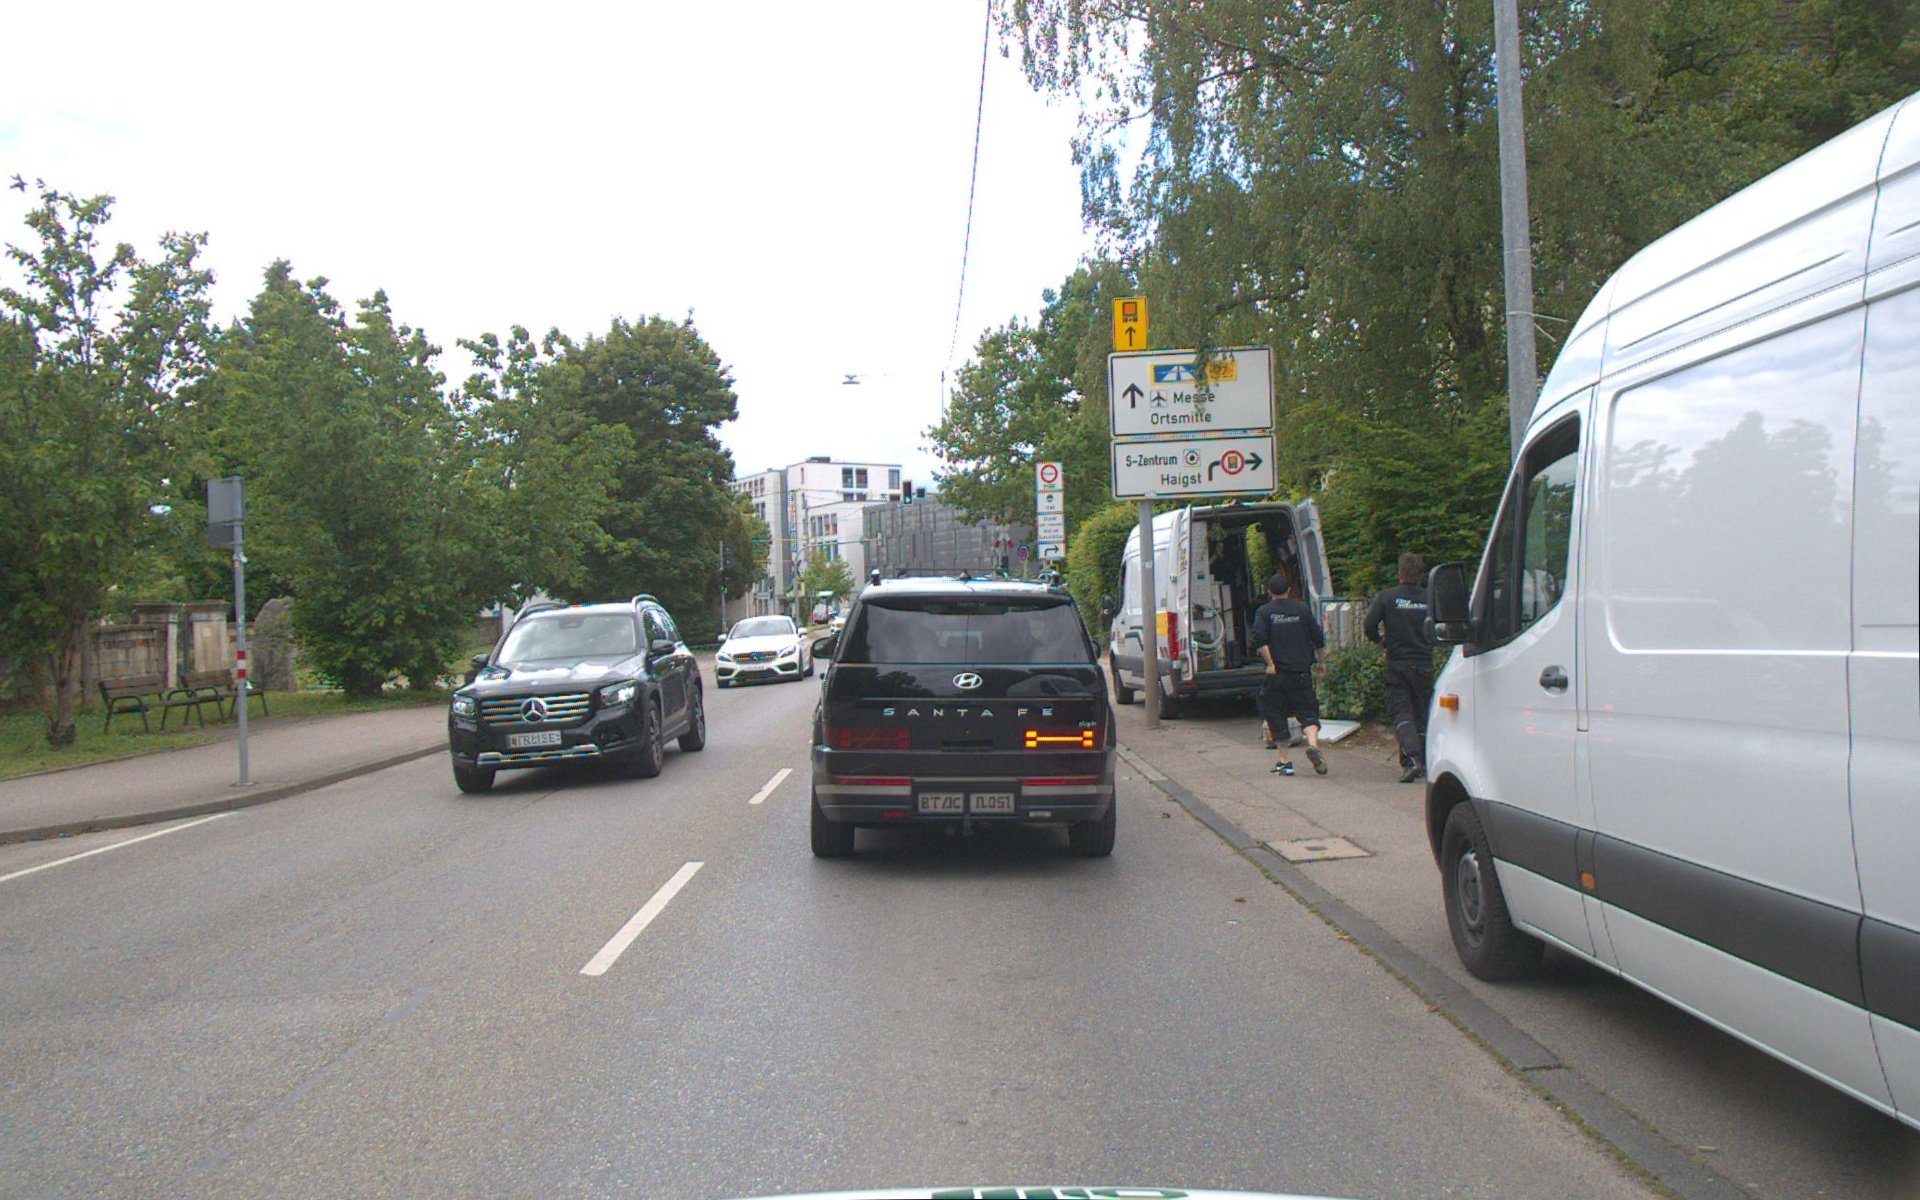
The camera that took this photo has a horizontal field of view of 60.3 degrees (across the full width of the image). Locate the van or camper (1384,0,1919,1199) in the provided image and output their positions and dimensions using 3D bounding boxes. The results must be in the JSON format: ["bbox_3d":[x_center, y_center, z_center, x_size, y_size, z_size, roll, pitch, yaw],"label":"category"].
[{"bbox_3d":[2.947,0.063,3.922,1.951,2.670,6.543,-4,-1,-1],"label":"van or camper"}]

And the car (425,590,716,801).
[{"bbox_3d":[-3.634,0.838,16.192,1.842,1.673,4.126,-4,-1,-1],"label":"car"}]

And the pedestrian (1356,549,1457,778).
[{"bbox_3d":[3.577,0.506,13.293,0.634,1.782,0.655,-1,-1,5],"label":"pedestrian"}]

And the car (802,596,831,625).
[{"bbox_3d":[-12.241,0.898,140.827,2.288,2.356,4.950,-2,0,-6],"label":"car"}]

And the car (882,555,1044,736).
[{"bbox_3d":[0.019,0.557,21.445,1.858,2.077,3.993,1,-1,-1],"label":"car"}]

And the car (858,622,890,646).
[{"bbox_3d":[-5.565,2.160,106.639,1.847,1.445,3.994,-2,0,-6],"label":"car"}]

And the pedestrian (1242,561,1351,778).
[{"bbox_3d":[2.828,0.579,13.978,0.734,1.751,0.792,-3,-1,5],"label":"pedestrian"}]

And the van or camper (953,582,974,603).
[{"bbox_3d":[0.338,-0.756,169.394,1.760,2.034,3.820,1,-1,-4],"label":"van or camper"}]

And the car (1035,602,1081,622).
[{"bbox_3d":[8.464,1.049,143.302,3.904,1.611,1.890,-2,0,2],"label":"car"}]

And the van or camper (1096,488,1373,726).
[{"bbox_3d":[3.403,0.150,22.190,2.293,2.538,6.600,-5,-1,-1],"label":"van or camper"}]

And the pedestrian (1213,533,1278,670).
[{"bbox_3d":[3.615,0.020,21.011,0.721,1.672,0.802,-3,-1,8],"label":"pedestrian"}]

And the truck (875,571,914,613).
[{"bbox_3d":[-6.486,-0.743,161.736,3.048,3.926,9.607,-2,0,-6],"label":"truck"}]

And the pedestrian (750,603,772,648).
[{"bbox_3d":[-9.224,1.172,76.771,0.812,2.049,1.047,1,-1,2],"label":"pedestrian"}]

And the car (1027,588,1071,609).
[{"bbox_3d":[7.409,-0.110,137.955,3.565,1.611,1.752,-2,0,2],"label":"car"}]

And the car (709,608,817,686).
[{"bbox_3d":[-4.231,0.985,36.201,1.778,1.444,4.827,-5,-1,-1],"label":"car"}]

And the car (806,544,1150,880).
[{"bbox_3d":[0.081,0.640,11.114,1.858,1.807,3.993,1,-1,-1],"label":"car"}]

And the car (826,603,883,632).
[{"bbox_3d":[-5.977,1.001,94.137,1.799,1.565,4.270,-1,0,18],"label":"car"}]

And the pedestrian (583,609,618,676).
[{"bbox_3d":[-9.718,1.138,44.771,0.751,1.779,0.904,0,-1,0],"label":"pedestrian"}]
